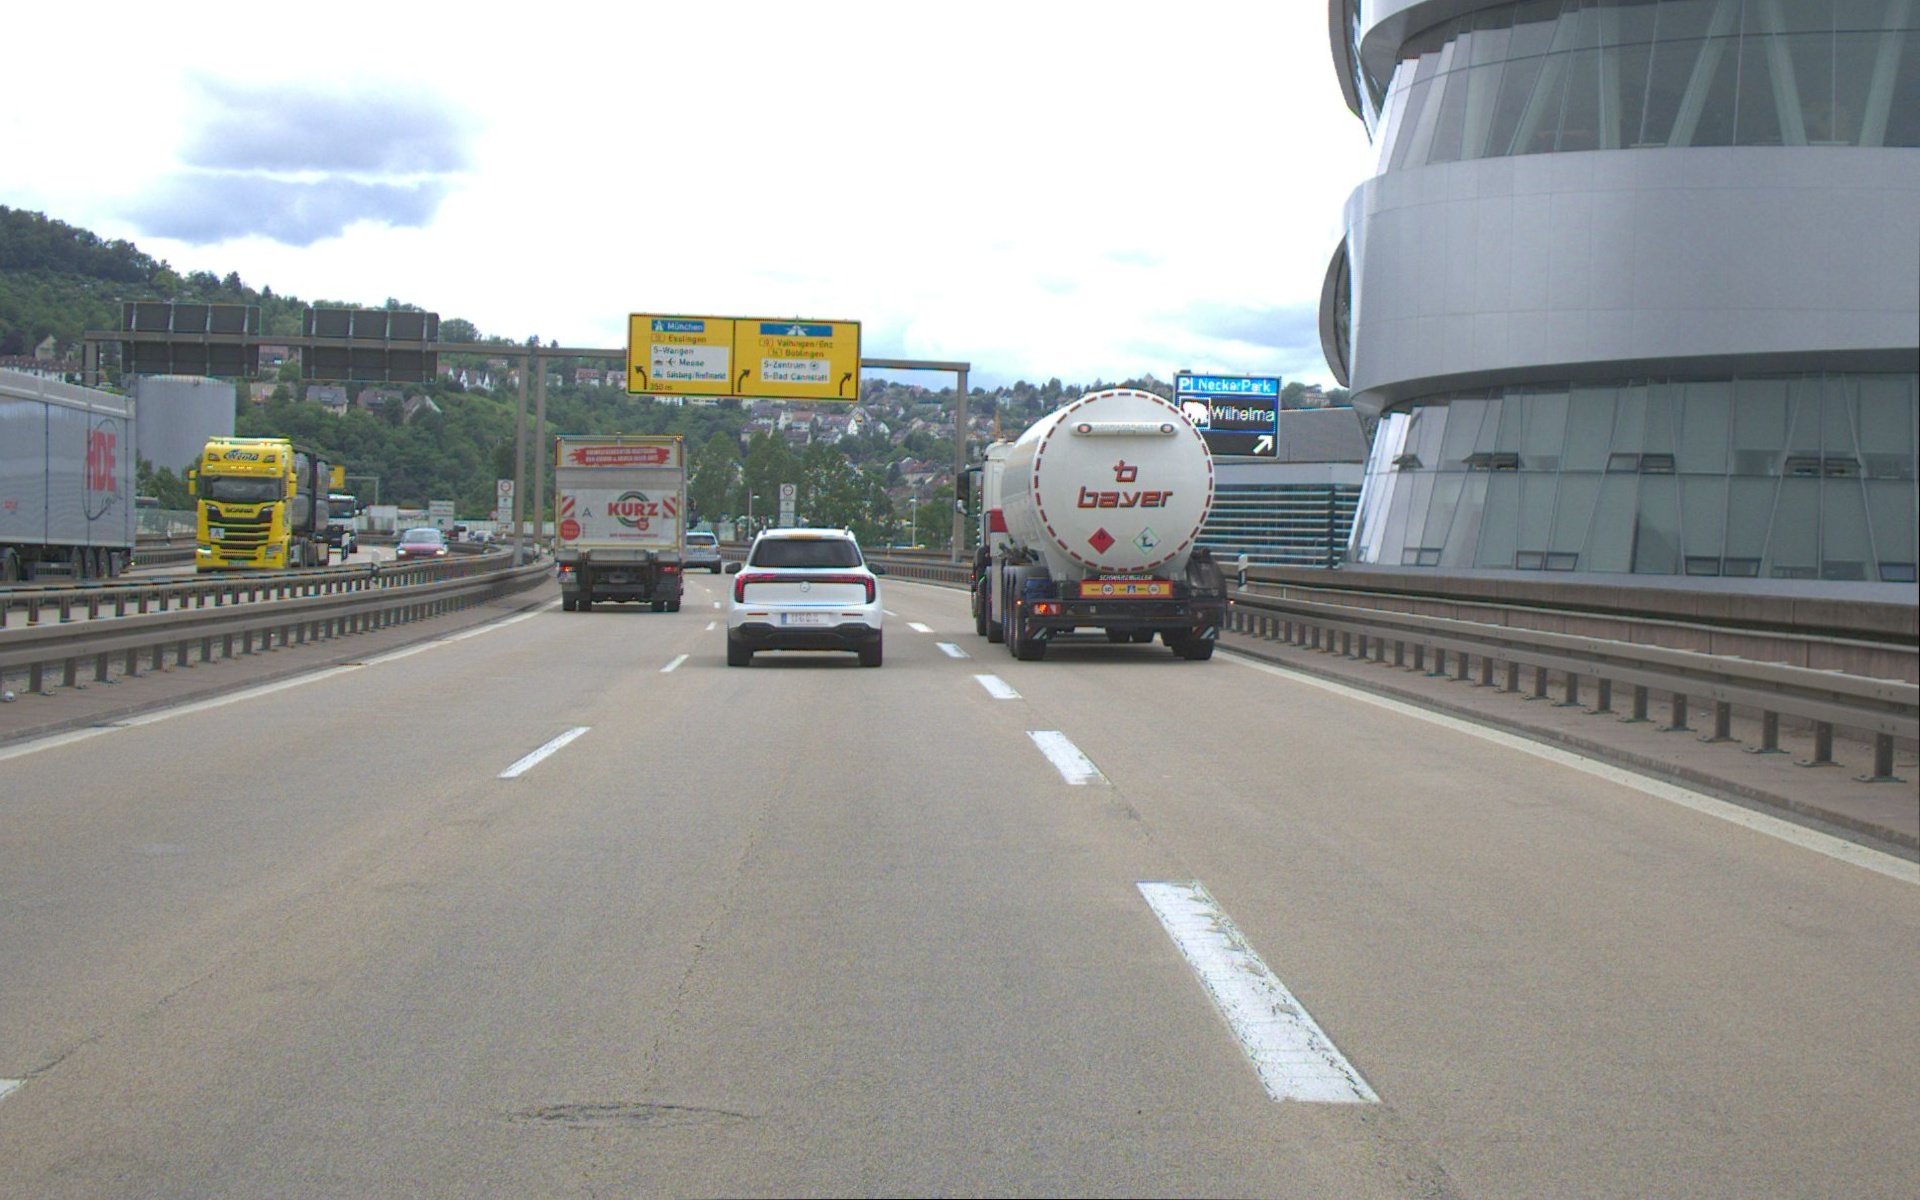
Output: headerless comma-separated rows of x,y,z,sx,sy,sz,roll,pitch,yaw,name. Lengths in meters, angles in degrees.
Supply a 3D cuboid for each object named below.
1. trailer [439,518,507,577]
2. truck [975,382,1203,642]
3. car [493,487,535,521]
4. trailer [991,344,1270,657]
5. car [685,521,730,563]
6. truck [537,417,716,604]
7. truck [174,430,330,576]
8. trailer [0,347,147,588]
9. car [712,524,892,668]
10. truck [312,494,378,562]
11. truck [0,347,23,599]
-16.896,-1.795,119.439,1.993,2.007,4.000,0,0,-3,trailer
1.845,-1.264,51.779,3.014,3.644,6.274,0,0,-1,truck
-22.648,-4.851,174.690,1.993,1.601,4.808,0,0,-6,car
2.110,-1.245,45.885,3.057,3.777,8.304,0,0,-2,trailer
-10.306,-2.357,140.558,1.683,1.644,4.360,2,0,-3,car
-6.897,-1.800,72.203,3.057,3.678,8.304,0,0,-1,truck
-20.847,-2.759,101.903,3.056,4.051,11.858,0,0,-4,truck
-17.354,-2.226,62.496,2.844,3.973,11.886,0,0,-3,trailer
-1.894,-0.059,42.468,1.993,1.669,4.408,0,0,0,car
-35.854,-4.137,200.848,3.056,3.763,12.521,0,0,-7,truck
-16.860,-2.057,54.358,2.771,4.065,5.647,0,0,-3,truck
